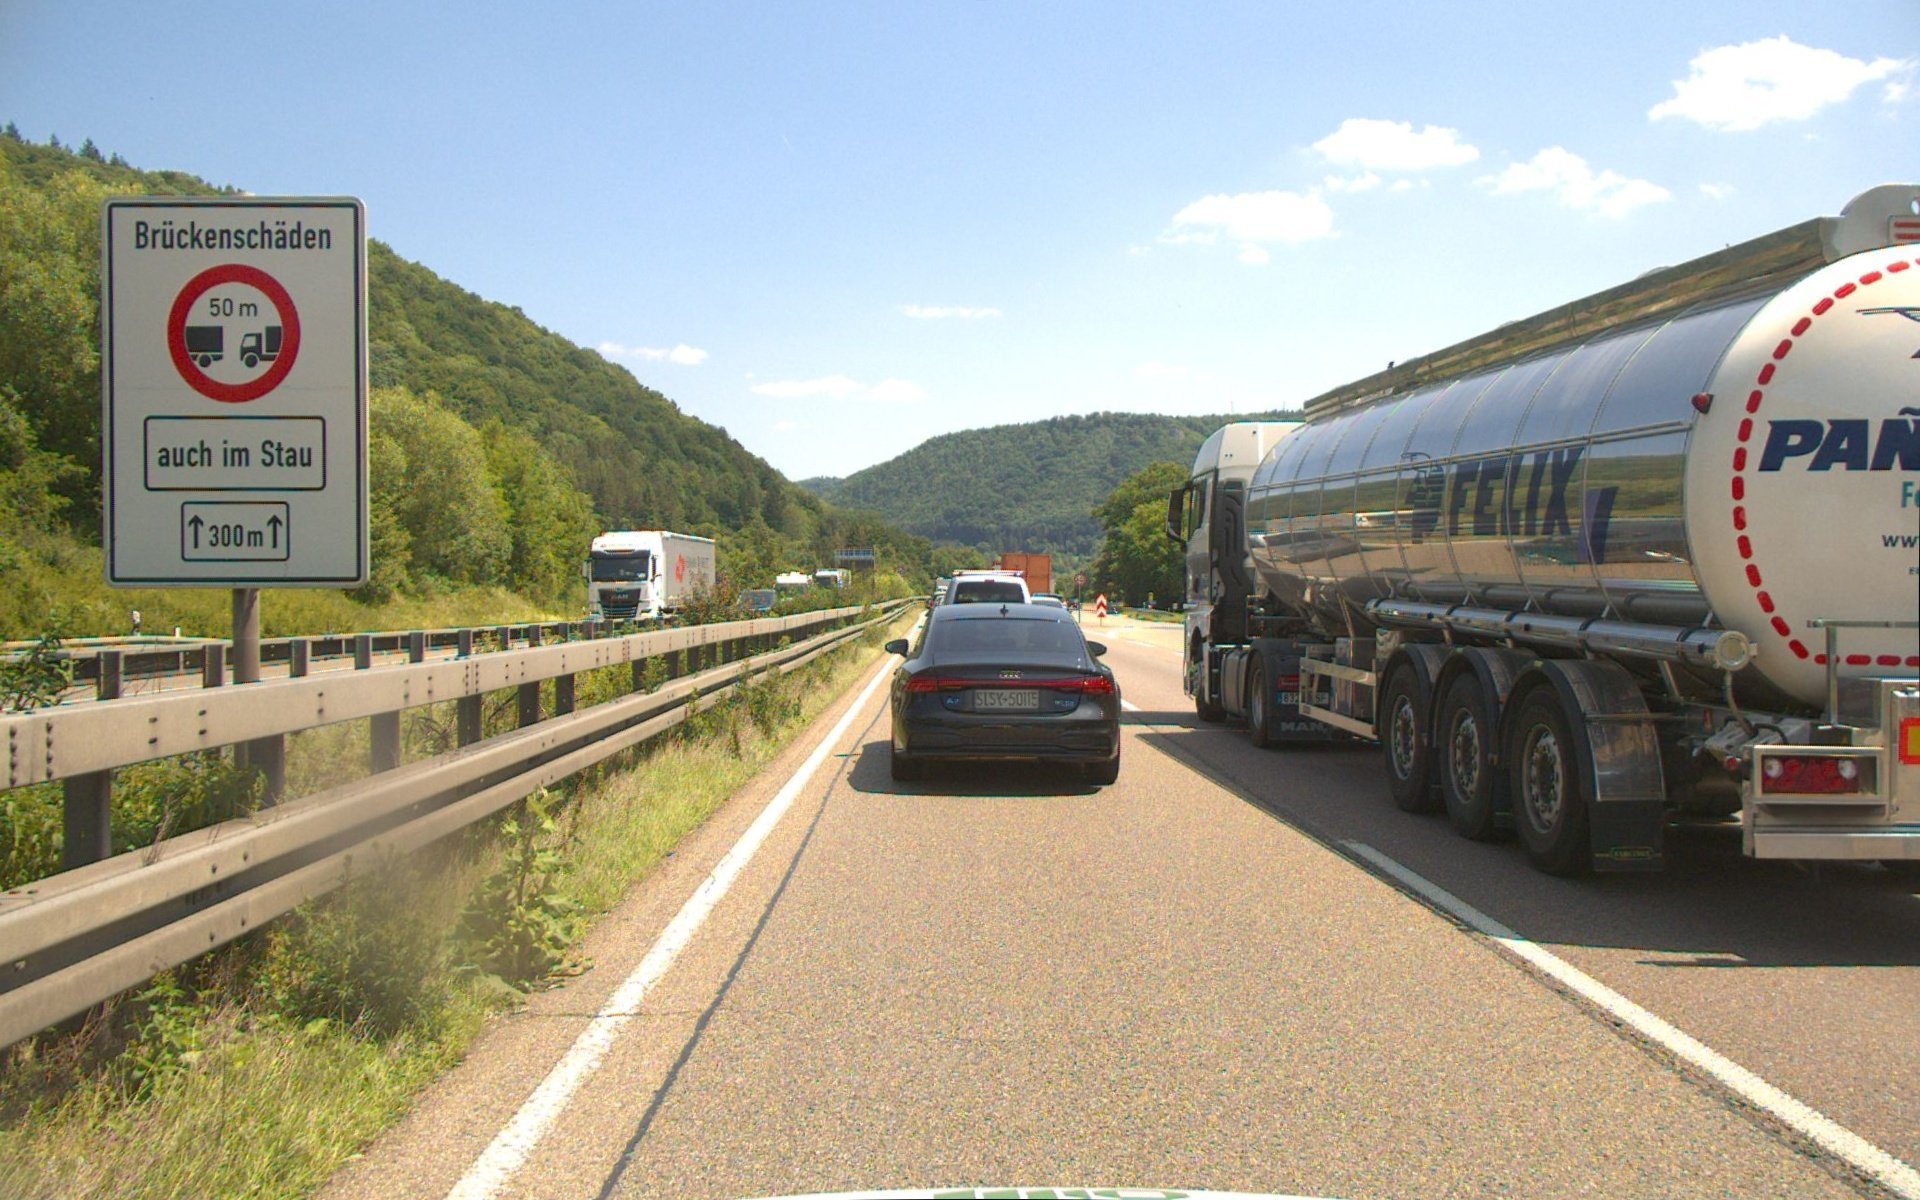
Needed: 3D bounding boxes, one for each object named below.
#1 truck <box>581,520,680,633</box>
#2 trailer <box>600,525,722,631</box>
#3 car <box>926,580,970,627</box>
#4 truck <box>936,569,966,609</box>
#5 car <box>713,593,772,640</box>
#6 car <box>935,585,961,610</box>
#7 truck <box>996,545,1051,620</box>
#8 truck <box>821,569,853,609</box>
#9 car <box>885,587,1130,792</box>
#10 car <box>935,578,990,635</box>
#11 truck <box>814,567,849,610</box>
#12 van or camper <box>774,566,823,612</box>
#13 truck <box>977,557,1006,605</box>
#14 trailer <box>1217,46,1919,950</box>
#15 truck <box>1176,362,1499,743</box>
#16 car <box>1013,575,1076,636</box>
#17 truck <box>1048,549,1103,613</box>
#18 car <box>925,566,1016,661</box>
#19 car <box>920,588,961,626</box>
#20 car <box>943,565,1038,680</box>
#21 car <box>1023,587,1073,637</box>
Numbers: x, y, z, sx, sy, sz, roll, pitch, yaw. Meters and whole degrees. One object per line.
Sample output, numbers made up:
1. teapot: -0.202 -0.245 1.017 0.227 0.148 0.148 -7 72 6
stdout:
1. truck: -12.478 -0.863 63.104 2.672 4.071 5.369 -1 0 0
2. trailer: -12.538 -0.884 70.811 2.725 4.069 14.158 1 0 0
3. car: -0.561 0.161 74.774 1.953 2.049 3.999 0 0 -1
4. truck: -0.818 -0.957 149.876 2.575 3.501 11.420 0 0 0
5. car: -8.812 0.636 67.323 1.883 1.828 4.599 1 0 -1
6. car: -0.821 -0.173 113.475 1.677 1.646 4.000 0 0 1
7. truck: 3.654 -0.987 98.240 2.760 4.073 14.955 1 0 0
8. truck: -12.914 -1.132 173.743 2.811 4.050 9.029 1 0 -1
9. car: 0.291 0.661 14.345 1.812 1.514 4.081 1 0 -2
10. car: 0.067 0.211 61.647 1.953 2.049 3.999 0 0 -1
11. truck: -12.672 -1.094 164.141 2.811 4.076 10.169 1 0 -1
12. van or camper: -12.346 -0.809 126.892 2.536 3.394 7.651 0 0 3
13. truck: 2.407 -1.413 128.222 1.953 3.507 11.810 1 0 0
14. trailer: 4.298 -0.443 12.935 2.486 3.801 11.889 1 0 -1
15. truck: 4.155 -0.486 19.300 2.460 3.824 5.244 1 0 -1
16. car: 2.951 0.179 58.540 1.953 2.049 4.000 0 0 -1
17. truck: 7.792 -1.239 113.000 2.760 4.073 14.955 1 0 0
18. car: 0.213 0.293 37.993 1.953 2.049 3.999 1 0 -1
19. car: -0.831 0.288 72.610 1.677 1.646 4.000 0 0 1
20. car: 0.485 0.360 29.135 1.543 1.865 3.999 1 0 -1
21. car: 3.721 0.498 70.576 1.952 2.038 4.000 0 0 1
